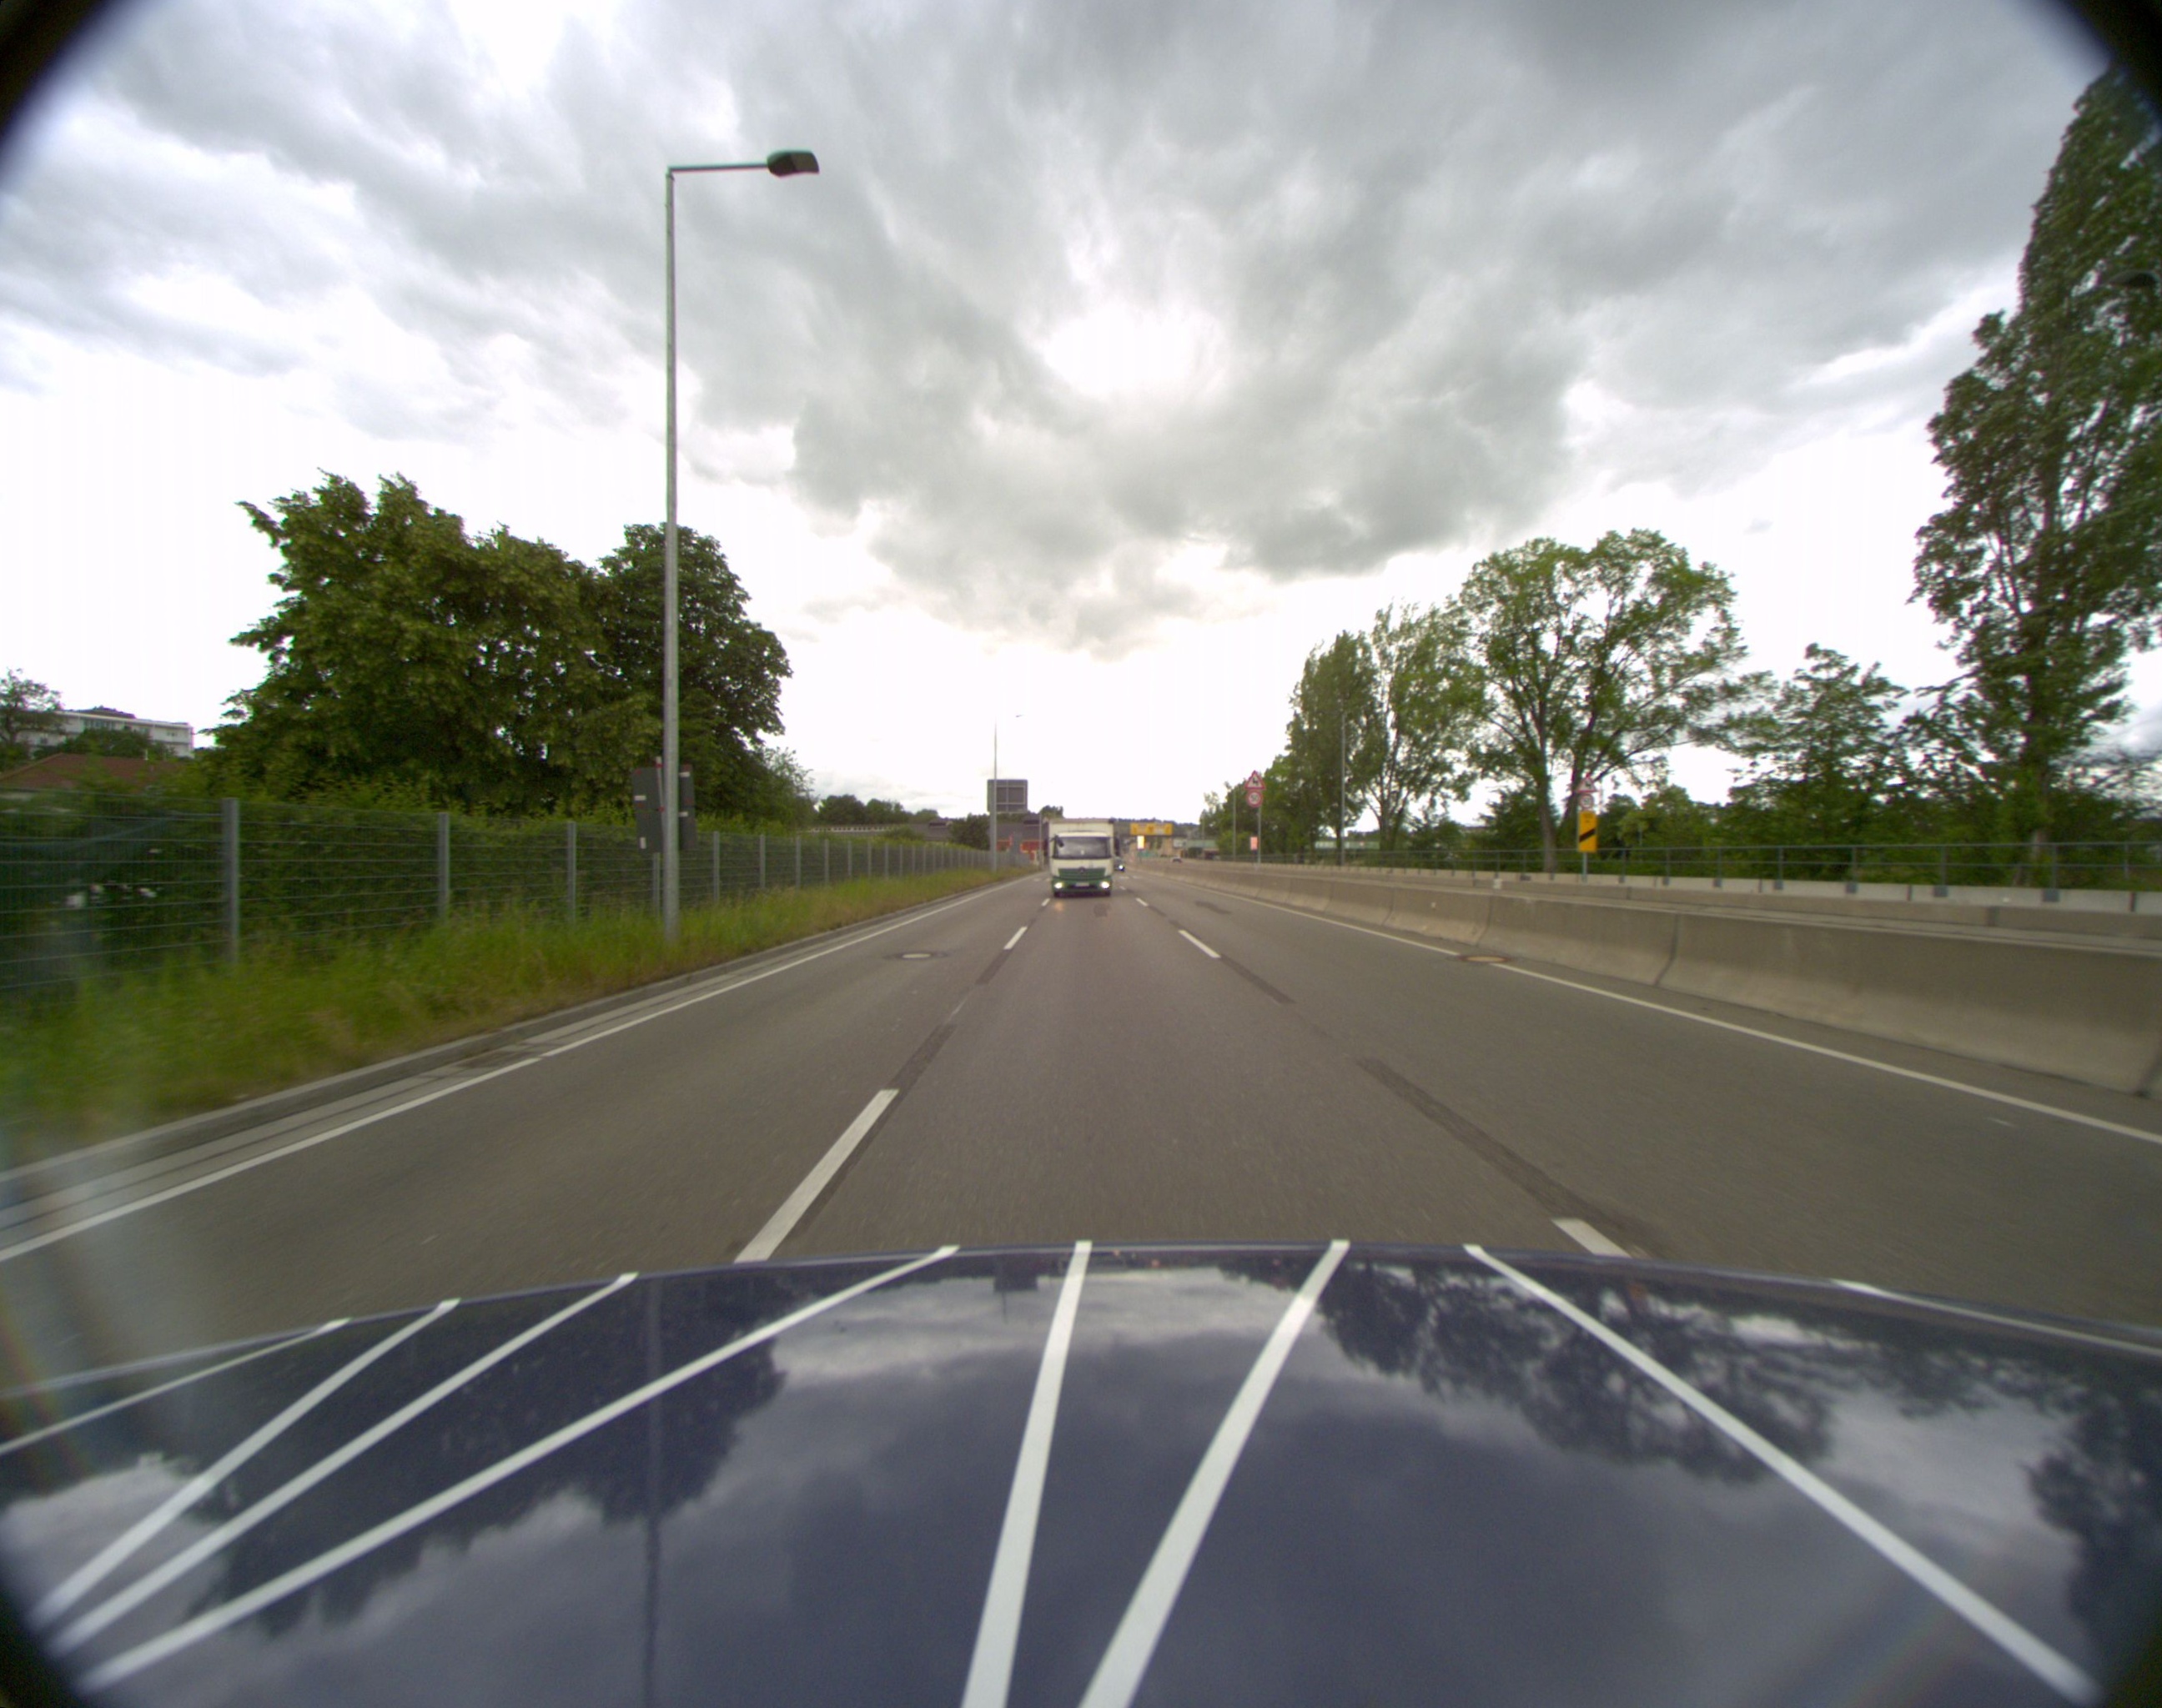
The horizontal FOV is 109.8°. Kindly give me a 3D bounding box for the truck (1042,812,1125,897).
[{"bbox_3d":[0.054,0.019,32.329,2.943,3.065,8.386,-2,0,-1],"label":"truck"}]

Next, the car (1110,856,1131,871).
[{"bbox_3d":[4.063,0.942,79.050,1.998,1.444,4.000,-2,0,1],"label":"car"}]

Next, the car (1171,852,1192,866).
[{"bbox_3d":[14.464,0.713,109.965,2.335,1.914,5.002,-2,0,1],"label":"car"}]
